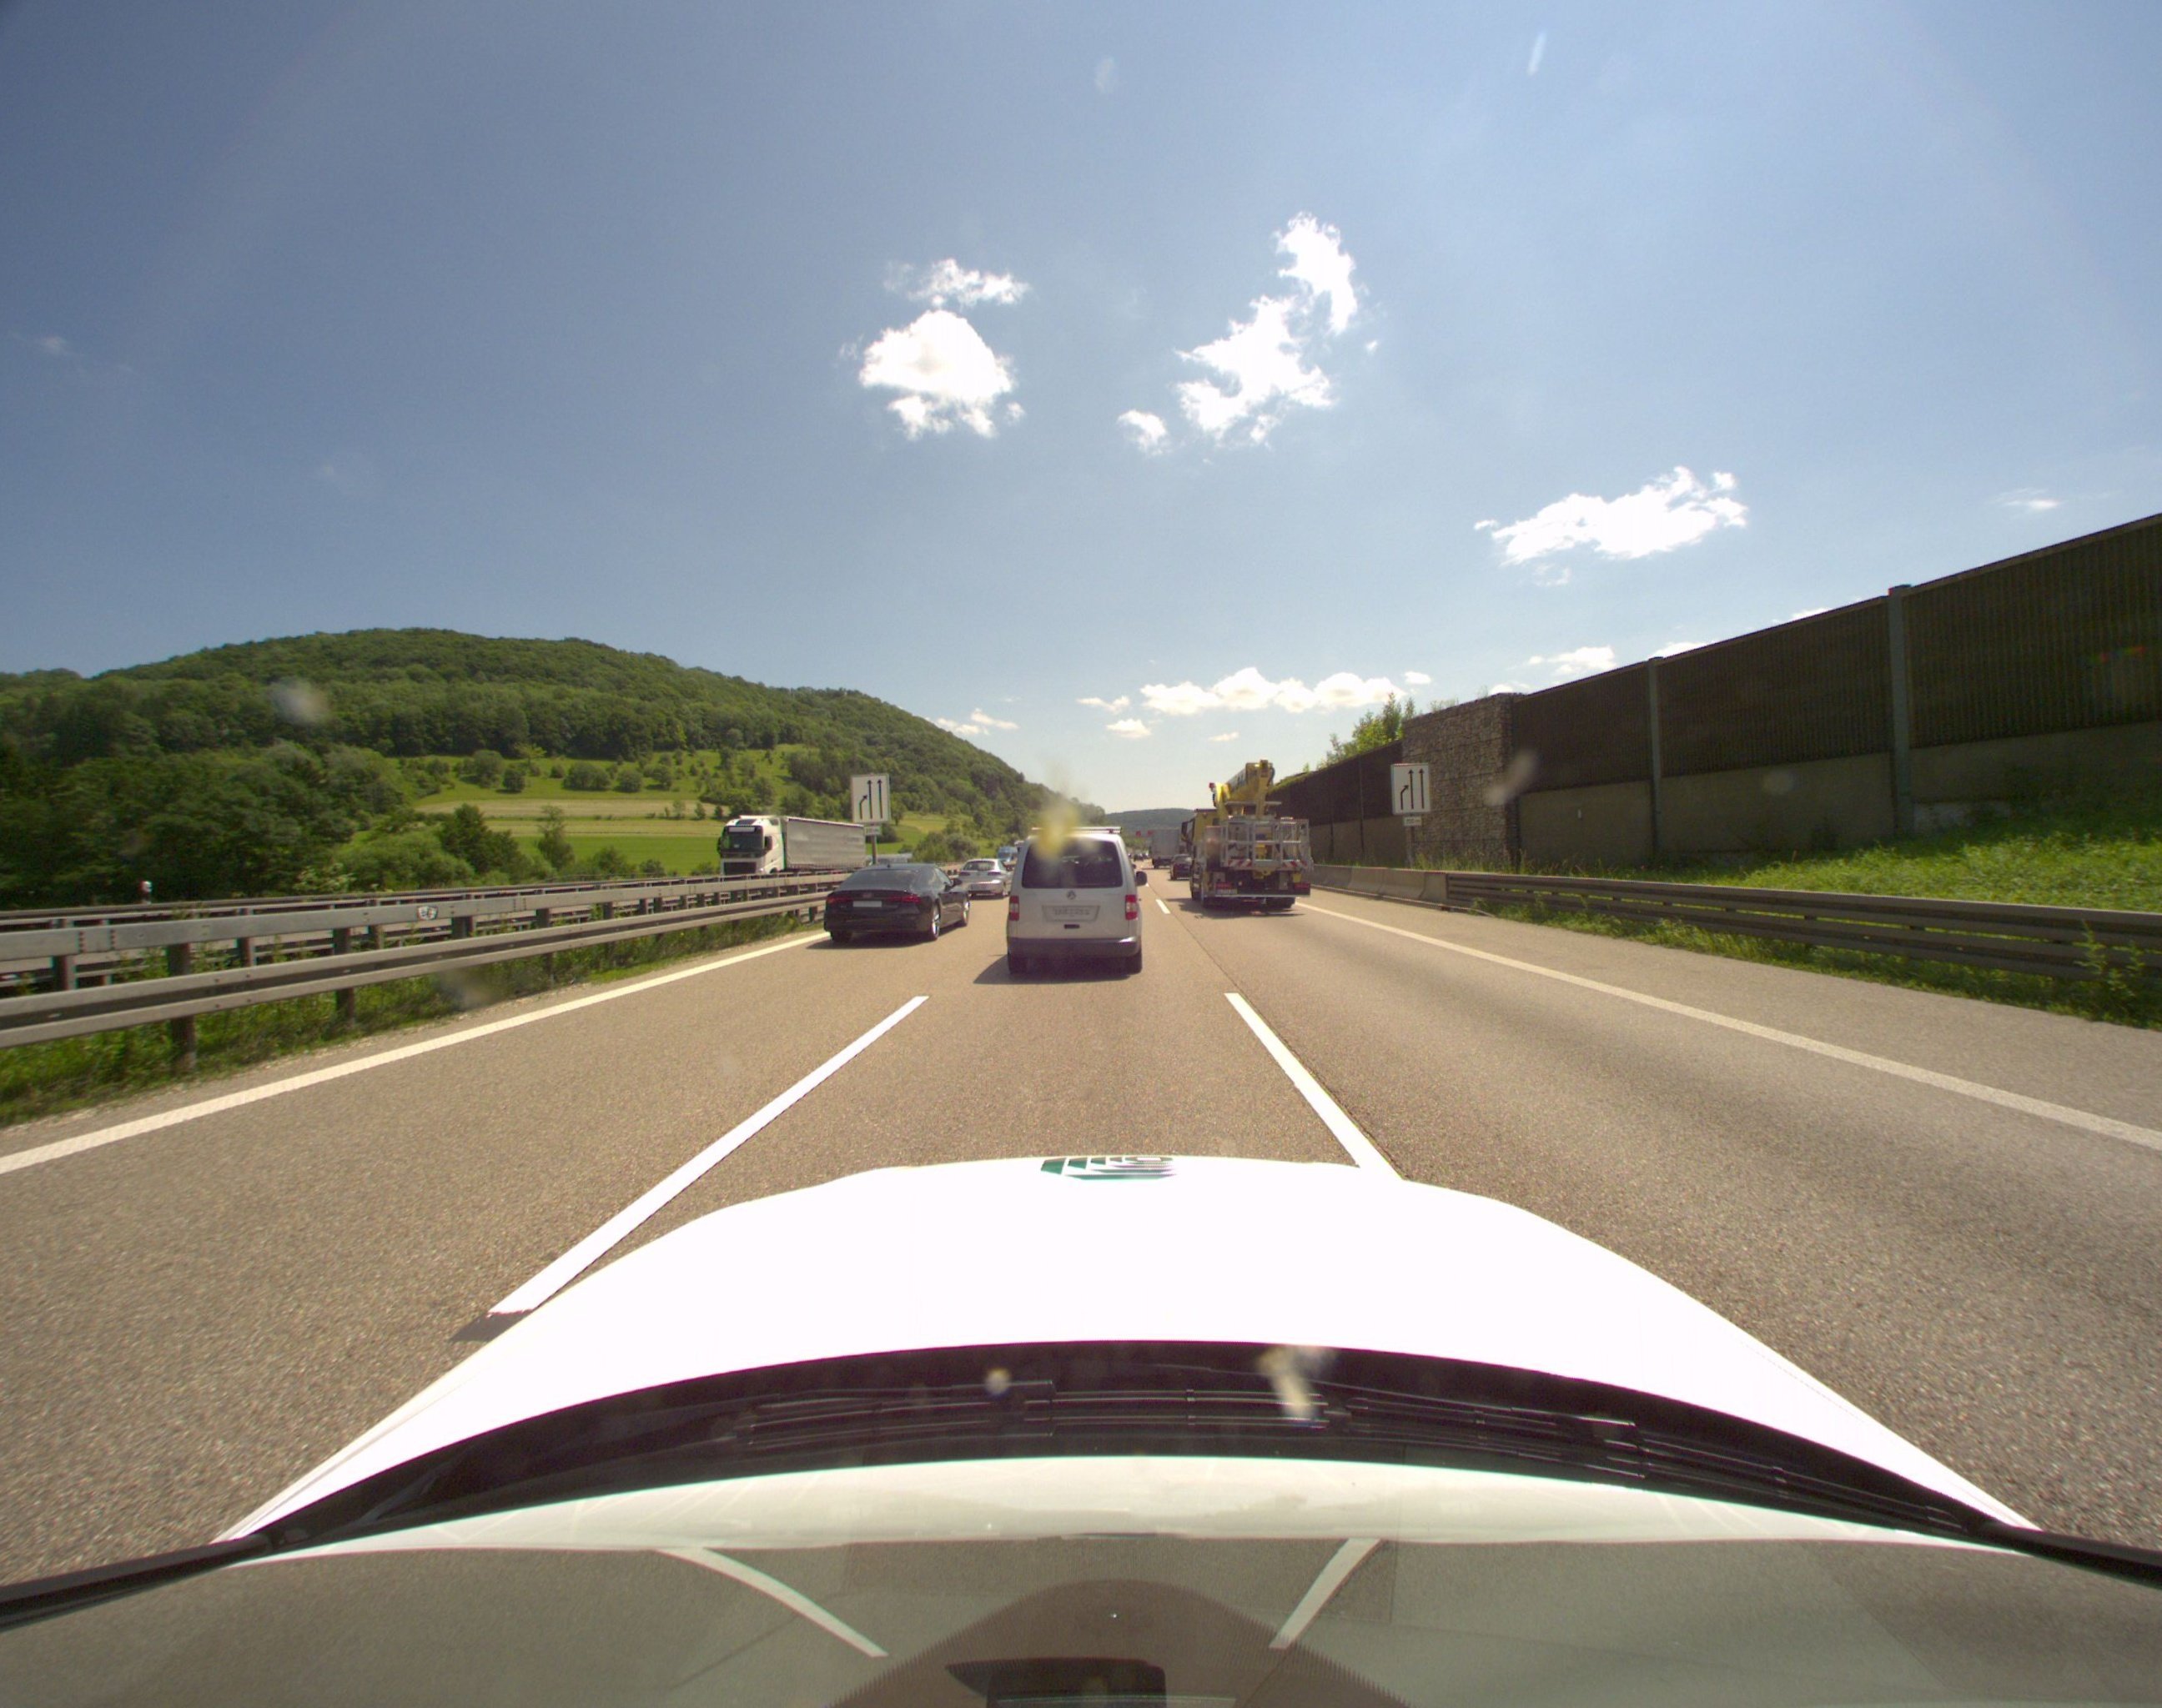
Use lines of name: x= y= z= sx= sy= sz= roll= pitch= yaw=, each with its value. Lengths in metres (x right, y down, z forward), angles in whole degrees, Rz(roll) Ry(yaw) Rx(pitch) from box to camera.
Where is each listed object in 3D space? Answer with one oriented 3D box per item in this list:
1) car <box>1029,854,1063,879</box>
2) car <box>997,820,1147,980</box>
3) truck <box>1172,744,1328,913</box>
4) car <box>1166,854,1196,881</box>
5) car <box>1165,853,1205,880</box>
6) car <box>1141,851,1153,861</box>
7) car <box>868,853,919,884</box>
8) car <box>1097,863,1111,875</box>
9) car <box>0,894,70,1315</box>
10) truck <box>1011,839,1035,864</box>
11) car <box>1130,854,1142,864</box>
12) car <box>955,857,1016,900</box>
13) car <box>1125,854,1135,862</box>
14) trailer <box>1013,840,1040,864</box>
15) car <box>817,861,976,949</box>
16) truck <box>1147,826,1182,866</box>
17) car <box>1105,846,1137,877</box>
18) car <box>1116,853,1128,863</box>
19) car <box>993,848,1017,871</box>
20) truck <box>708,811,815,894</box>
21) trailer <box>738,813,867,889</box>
car: x=-2.167 y=0.749 z=50.950 sx=1.918 sy=1.499 sz=4.000 roll=-1 pitch=0 yaw=0
car: x=-0.094 y=0.549 z=11.699 sx=1.750 sy=1.868 sz=4.000 roll=-1 pitch=0 yaw=0
truck: x=4.499 y=-0.597 z=23.679 sx=2.695 sy=3.942 sz=8.721 roll=-1 pitch=0 yaw=0
car: x=7.893 y=1.022 z=64.489 sx=1.986 sy=2.013 sz=4.001 roll=-1 pitch=0 yaw=1
car: x=5.891 y=0.675 z=46.359 sx=1.780 sy=1.458 sz=3.770 roll=-1 pitch=0 yaw=0
car: x=13.443 y=0.420 z=164.962 sx=2.107 sy=1.828 sz=3.999 roll=0 pitch=-1 yaw=0
car: x=-11.635 y=0.880 z=50.844 sx=1.985 sy=1.853 sz=4.410 roll=0 pitch=0 yaw=3
car: x=3.554 y=2.355 z=126.843 sx=2.105 sy=1.828 sz=4.003 roll=0 pitch=-1 yaw=3
car: x=-4.492 y=0.853 z=0.900 sx=1.682 sy=1.388 sz=4.001 roll=-1 pitch=0 yaw=1
truck: x=-9.936 y=-0.367 z=140.947 sx=3.265 sy=4.148 sz=6.959 roll=-1 pitch=-1 yaw=3
car: x=9.484 y=0.901 z=139.679 sx=1.985 sy=1.749 sz=4.003 roll=0 pitch=-1 yaw=3
car: x=-3.404 y=0.839 z=29.618 sx=1.690 sy=1.445 sz=3.862 roll=-1 pitch=0 yaw=0
car: x=11.066 y=0.861 z=183.645 sx=1.986 sy=1.805 sz=4.001 roll=0 pitch=-1 yaw=1
trailer: x=-9.667 y=-0.316 z=146.638 sx=3.233 sy=4.204 sz=13.011 roll=0 pitch=-1 yaw=3
car: x=-3.393 y=0.869 z=16.049 sx=1.794 sy=1.390 sz=4.972 roll=-1 pitch=0 yaw=2
truck: x=8.248 y=-0.706 z=81.292 sx=2.928 sy=3.823 sz=8.242 roll=0 pitch=-1 yaw=3
car: x=2.743 y=0.507 z=56.770 sx=1.987 sy=1.975 sz=4.000 roll=-1 pitch=0 yaw=0
car: x=8.040 y=0.840 z=158.427 sx=2.107 sy=1.828 sz=3.999 roll=0 pitch=-1 yaw=0
car: x=-9.801 y=0.727 z=105.293 sx=2.147 sy=2.862 sz=6.403 roll=0 pitch=-1 yaw=3
truck: x=-17.592 y=-0.059 z=45.459 sx=2.786 sy=4.232 sz=7.236 roll=0 pitch=-1 yaw=3
trailer: x=-17.180 y=-0.110 z=51.814 sx=2.843 sy=4.191 sz=13.625 roll=0 pitch=-1 yaw=3
